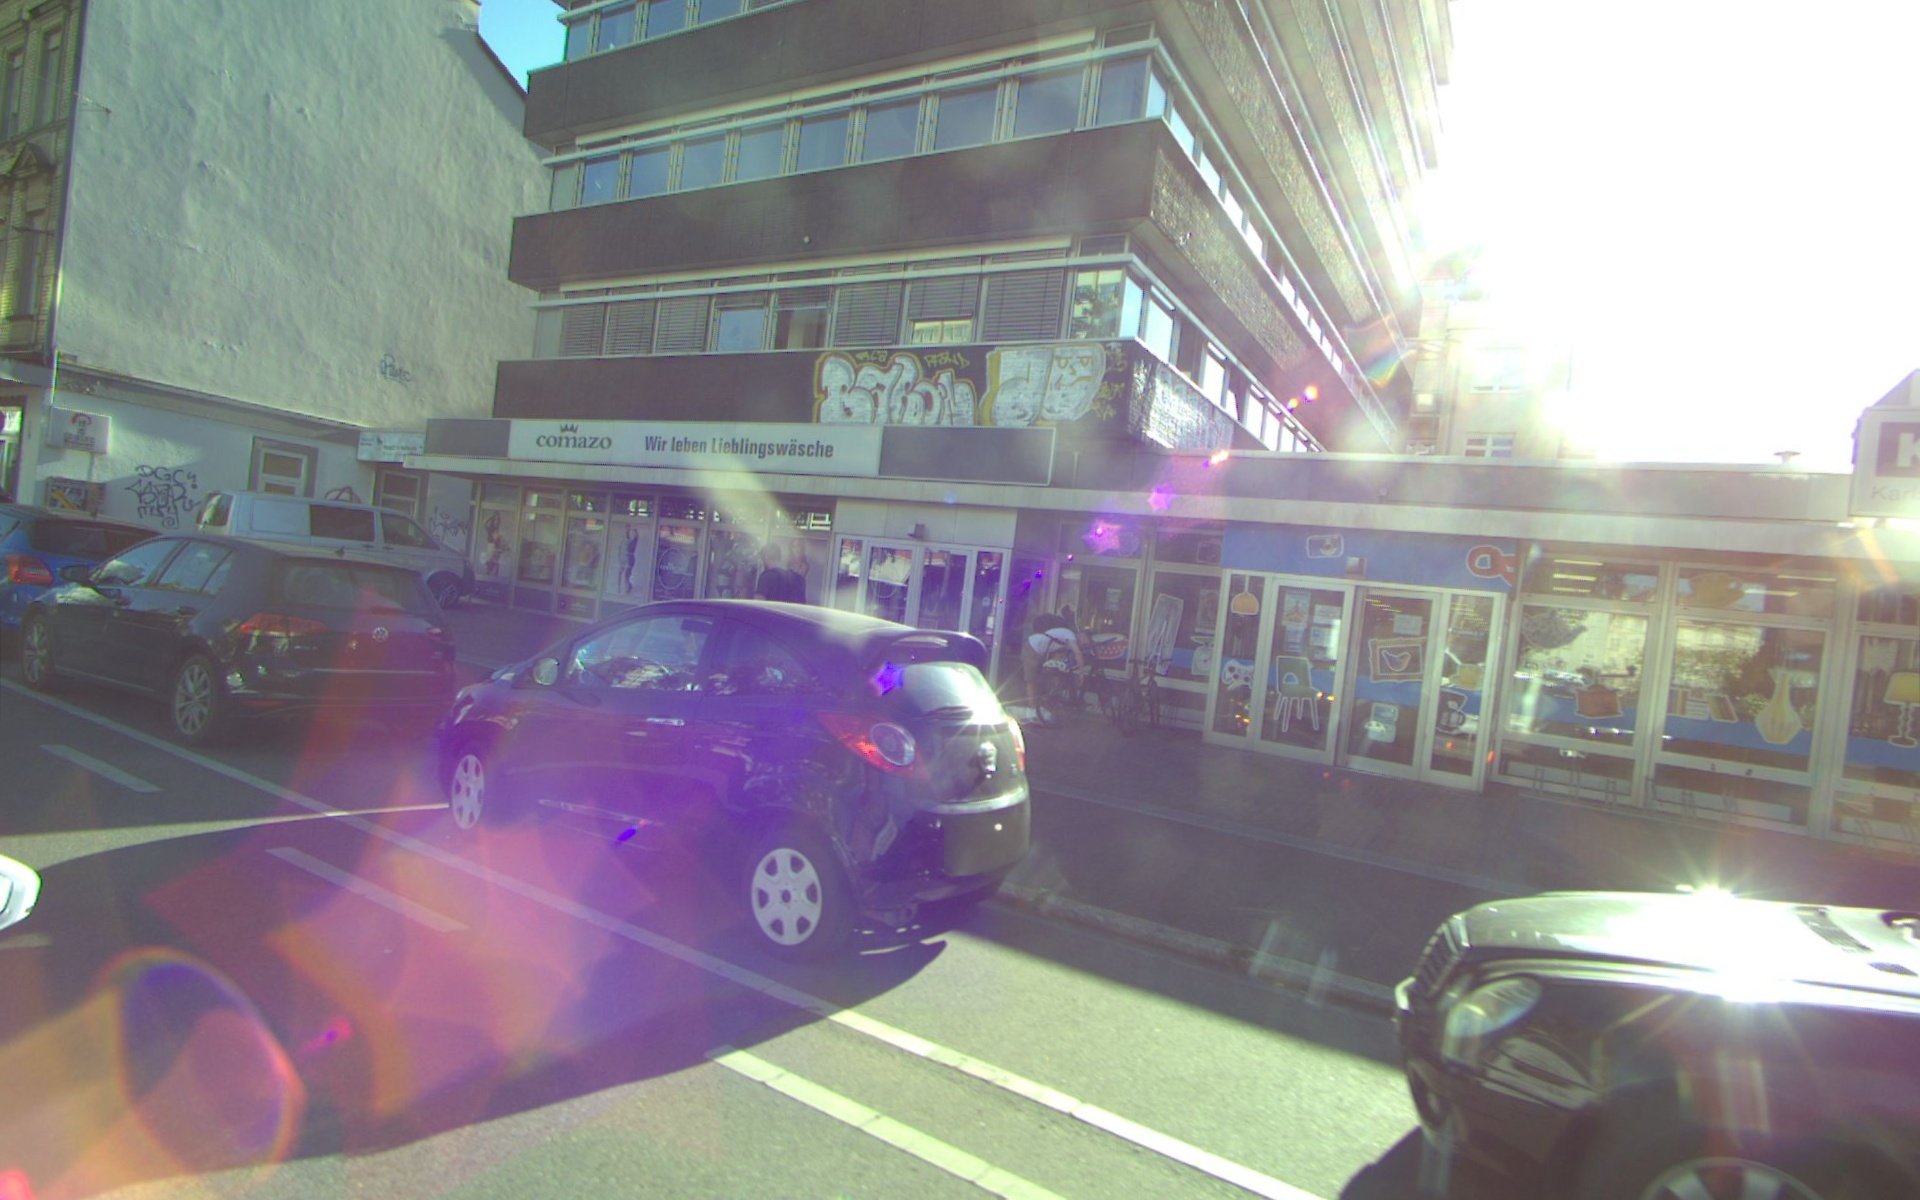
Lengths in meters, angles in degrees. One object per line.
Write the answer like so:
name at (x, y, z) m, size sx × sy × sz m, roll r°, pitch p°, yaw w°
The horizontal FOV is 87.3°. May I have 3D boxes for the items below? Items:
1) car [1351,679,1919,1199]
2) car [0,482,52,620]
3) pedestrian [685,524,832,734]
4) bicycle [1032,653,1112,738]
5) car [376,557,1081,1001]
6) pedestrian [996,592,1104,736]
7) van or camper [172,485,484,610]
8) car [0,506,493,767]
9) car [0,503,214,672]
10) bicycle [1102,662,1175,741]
car at (3.619, 1.221, 2.215) m, size 4.847 × 1.500 × 1.732 m, roll 5°, pitch -3°, yaw 31°
car at (-14.493, -0.900, 13.443) m, size 4.532 × 1.733 × 1.696 m, roll 6°, pitch -2°, yaw 24°
pedestrian at (-1.994, 0.285, 9.943) m, size 1.046 × 1.933 × 0.685 m, roll 5°, pitch -2°, yaw 34°
bicycle at (1.442, 1.176, 12.750) m, size 0.334 × 0.934 × 1.571 m, roll 6°, pitch 2°, yaw 30°
car at (-1.335, 0.729, 5.472) m, size 3.498 × 1.500 × 1.574 m, roll 6°, pitch -2°, yaw 31°
pedestrian at (1.143, 0.770, 12.678) m, size 0.901 × 1.671 × 1.009 m, roll 6°, pitch 4°, yaw 32°
van or camper at (-12.107, -0.939, 19.589) m, size 1.968 × 1.959 × 4.689 m, roll 7°, pitch 2°, yaw 35°
car at (-5.914, 0.217, 8.159) m, size 4.156 × 1.500 × 1.702 m, roll 6°, pitch -2°, yaw 31°
car at (-9.932, -0.233, 10.778) m, size 3.715 × 1.471 × 1.717 m, roll 6°, pitch -2°, yaw 31°
bicycle at (2.331, 1.285, 13.034) m, size 0.334 × 0.933 × 1.573 m, roll 6°, pitch 0°, yaw 30°
